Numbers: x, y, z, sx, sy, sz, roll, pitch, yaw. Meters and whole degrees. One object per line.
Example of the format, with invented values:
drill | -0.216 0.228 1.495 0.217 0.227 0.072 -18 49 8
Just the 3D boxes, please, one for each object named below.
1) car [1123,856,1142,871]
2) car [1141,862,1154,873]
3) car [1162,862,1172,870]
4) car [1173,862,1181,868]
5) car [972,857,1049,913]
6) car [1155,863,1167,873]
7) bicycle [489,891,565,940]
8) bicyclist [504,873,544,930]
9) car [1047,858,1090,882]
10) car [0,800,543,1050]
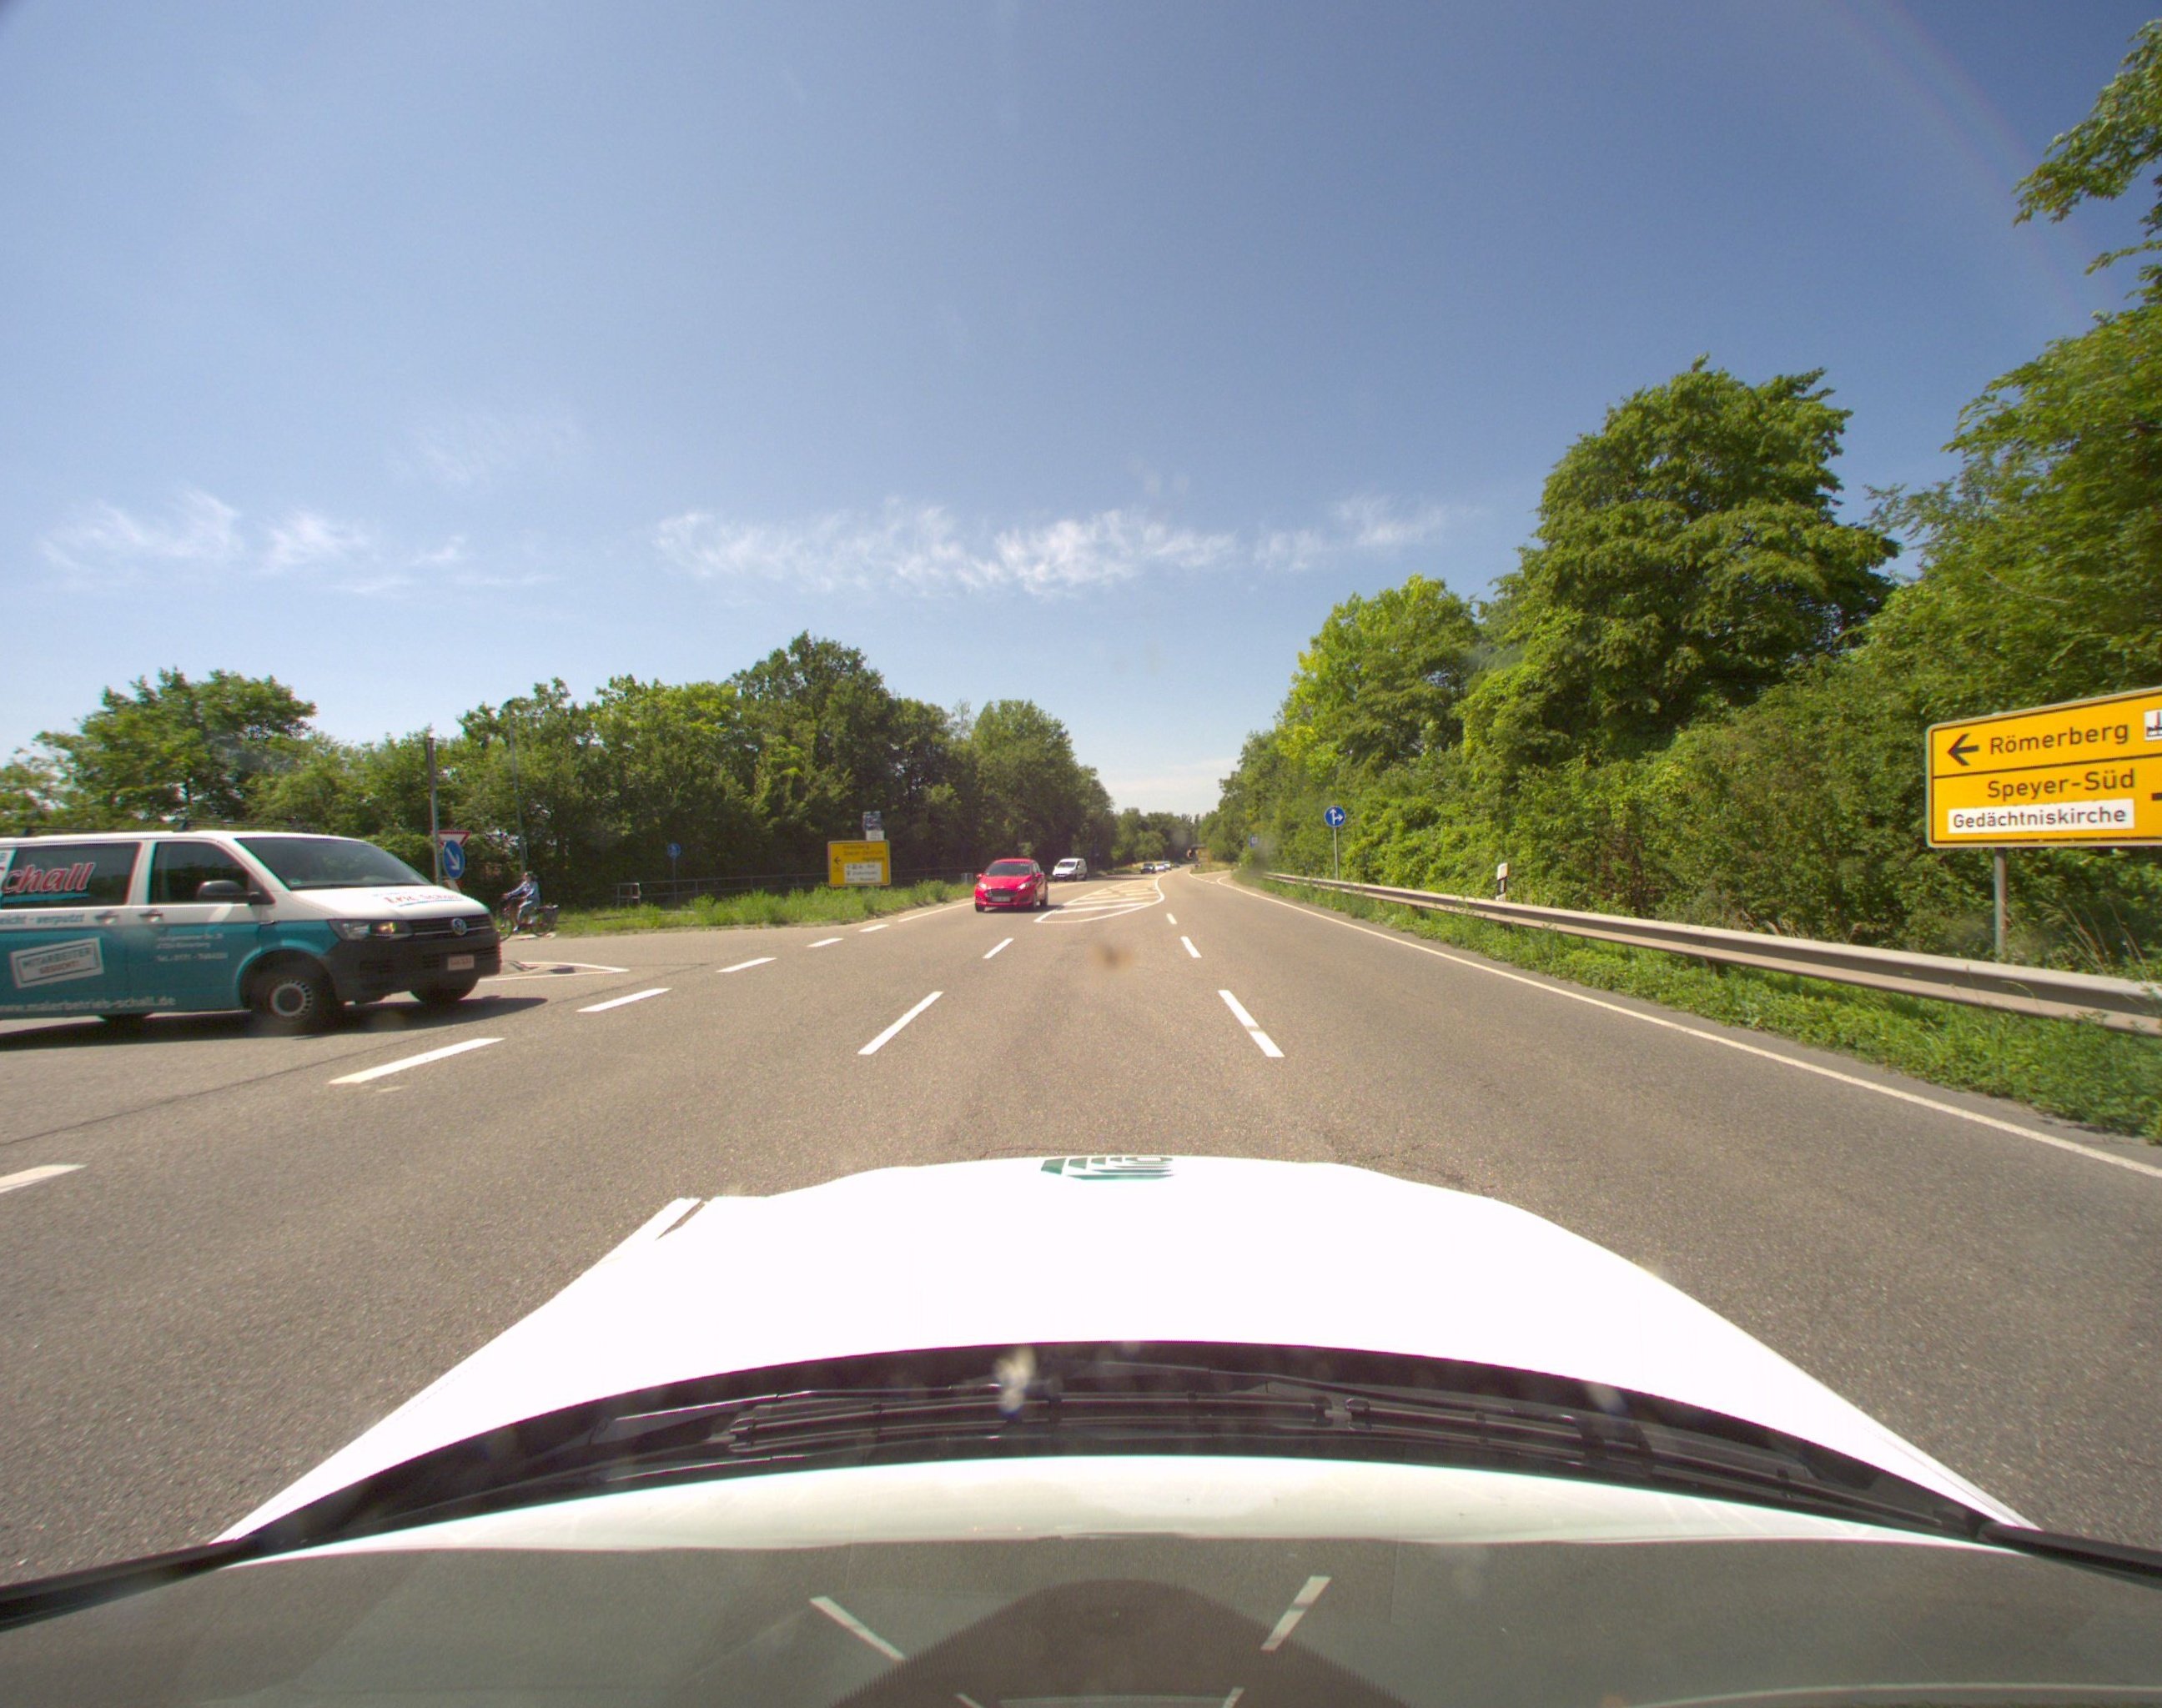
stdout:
car | 11.253 2.169 178.430 2.004 3.226 4.767 -1 0 -26
car | 9.950 2.028 121.363 1.668 1.527 4.009 -2 0 8
car | 16.789 2.341 159.715 1.710 1.528 3.718 -2 0 9
car | 23.221 2.642 196.693 1.710 1.509 3.718 -2 0 9
car | -1.976 0.847 23.814 1.803 1.458 3.759 -1 0 2
car | 13.501 2.364 136.838 1.667 1.527 4.011 -2 0 10
bicycle | -13.851 1.517 20.387 0.431 1.113 1.491 -2 0 36
bicyclist | -13.889 1.169 20.317 0.681 1.363 0.613 -2 -1 36
car | -0.931 1.225 63.117 1.977 1.730 4.294 -2 0 18
car | -8.762 0.677 8.242 5.155 2.027 1.999 -3 0 -1
